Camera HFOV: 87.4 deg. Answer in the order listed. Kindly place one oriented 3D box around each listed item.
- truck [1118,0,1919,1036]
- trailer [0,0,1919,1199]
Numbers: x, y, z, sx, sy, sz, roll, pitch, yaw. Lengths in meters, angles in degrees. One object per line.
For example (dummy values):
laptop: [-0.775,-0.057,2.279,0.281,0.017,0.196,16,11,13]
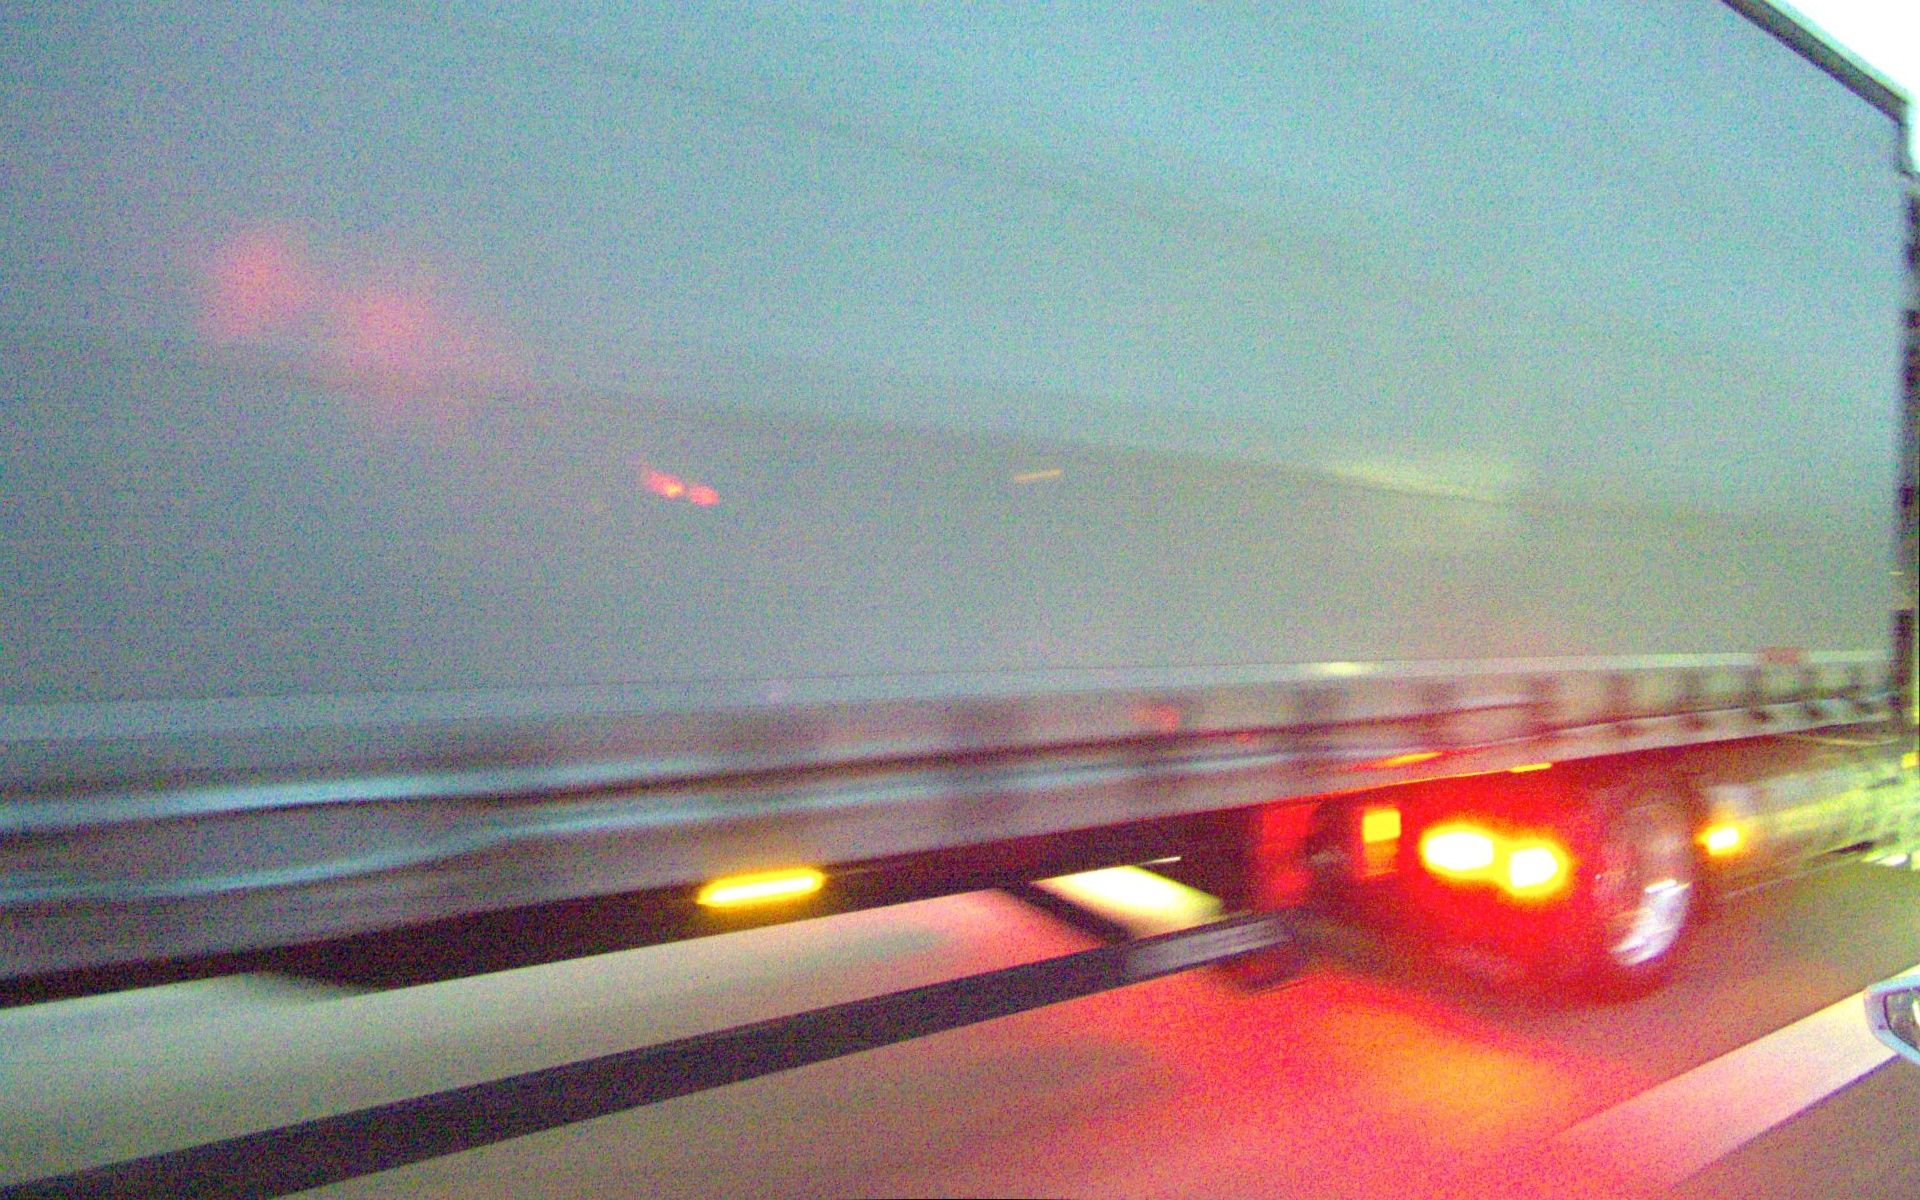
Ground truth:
truck: [4.266,-0.399,6.254,6.082,3.954,2.766,1,0,-30]
trailer: [-1.554,-0.536,2.805,14.645,3.967,2.760,1,0,-30]
